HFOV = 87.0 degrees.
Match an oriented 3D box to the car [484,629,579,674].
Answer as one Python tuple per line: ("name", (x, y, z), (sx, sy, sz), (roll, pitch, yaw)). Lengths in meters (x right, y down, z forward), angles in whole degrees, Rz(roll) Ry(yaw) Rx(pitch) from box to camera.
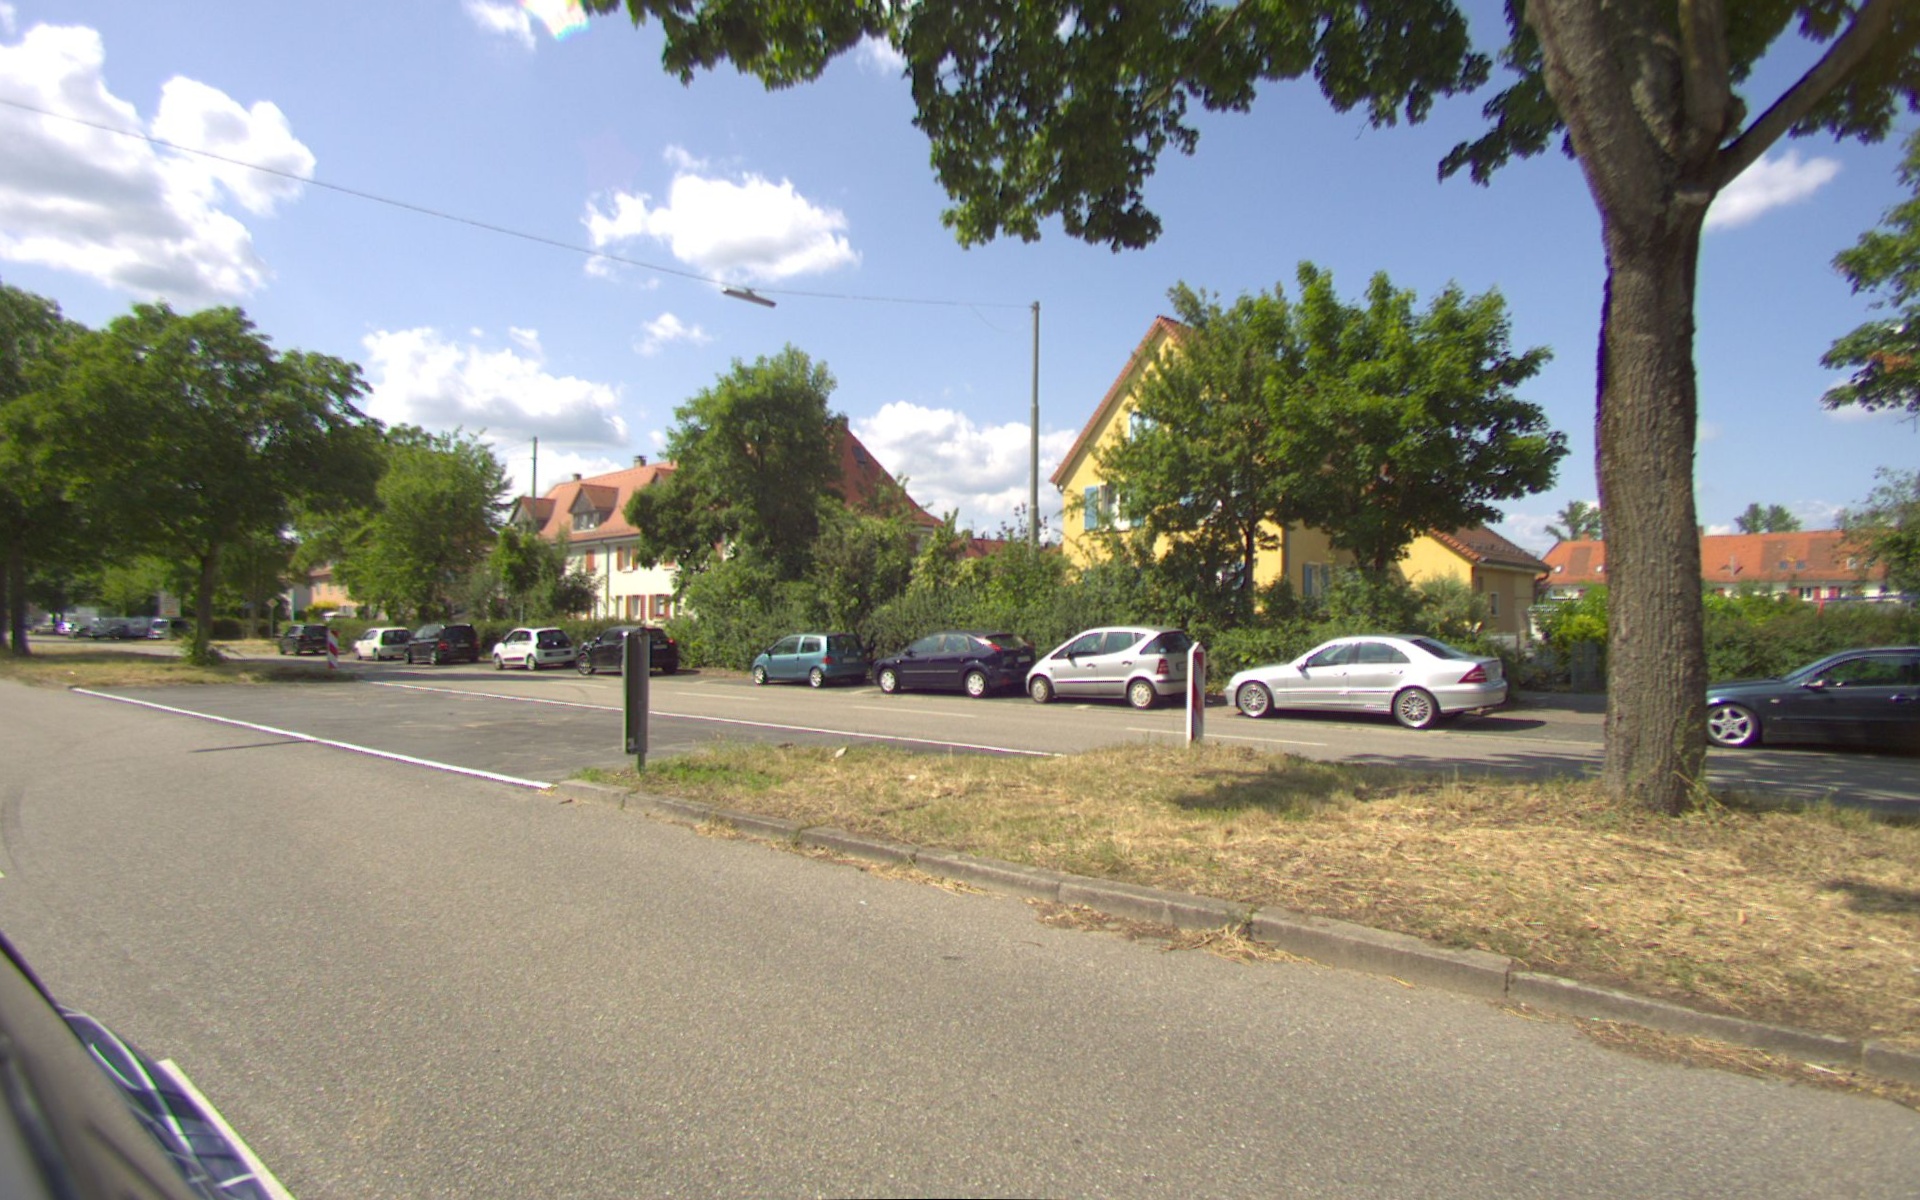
("car", (-15.825, 1.858, 37.331), (3.844, 1.462, 1.643), (-1, 0, 40))

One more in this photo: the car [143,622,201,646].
("car", (-64.915, 2.765, 83.398), (1.779, 1.874, 4.002), (-1, -1, -2))

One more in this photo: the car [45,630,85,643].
("car", (-105.363, 4.238, 119.167), (1.646, 1.358, 3.827), (-1, 0, -8))

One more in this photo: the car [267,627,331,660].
("car", (-34.711, 2.260, 53.107), (3.997, 1.563, 1.749), (-1, 0, 40))

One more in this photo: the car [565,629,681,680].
("car", (-10.947, 1.722, 32.717), (4.100, 1.492, 1.643), (-2, 0, 40))

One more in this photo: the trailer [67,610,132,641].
("trailer", (-91.033, 2.668, 107.167), (2.782, 3.132, 5.767), (-2, 0, -11))

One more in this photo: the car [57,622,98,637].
("car", (-99.403, 3.318, 114.053), (1.646, 1.475, 3.827), (-1, 0, -8))

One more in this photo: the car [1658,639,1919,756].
("car", (11.696, 1.183, 12.742), (4.583, 1.316, 1.618), (-2, 0, 43))

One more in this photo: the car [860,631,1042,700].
("car", (-0.294, 1.440, 23.362), (4.354, 1.405, 1.388), (-2, 0, 41))

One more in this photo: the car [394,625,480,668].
("car", (-21.809, 1.891, 42.168), (4.311, 1.624, 1.643), (-1, 0, 40))

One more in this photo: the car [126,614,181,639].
("car", (-71.723, 2.321, 90.039), (1.779, 2.029, 4.002), (-1, 0, -2))

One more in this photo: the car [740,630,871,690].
("car", (-4.152, 1.545, 26.947), (3.475, 1.405, 1.546), (-1, 0, 41))

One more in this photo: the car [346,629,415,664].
("car", (-26.504, 2.099, 46.252), (3.532, 1.472, 1.578), (-1, 0, 40))

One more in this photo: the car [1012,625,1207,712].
("car", (2.965, 1.317, 20.549), (3.740, 1.569, 1.388), (-1, 0, 41))

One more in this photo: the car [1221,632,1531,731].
("car", (6.781, 1.260, 16.866), (4.531, 1.380, 1.494), (-2, 0, 43))

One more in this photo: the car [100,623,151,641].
("car", (-77.019, 2.948, 93.502), (1.550, 1.408, 4.002), (-1, 0, -2))

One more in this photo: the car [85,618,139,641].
("car", (-79.282, 2.729, 94.711), (1.779, 2.029, 4.002), (-1, 0, -2))

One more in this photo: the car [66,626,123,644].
("car", (-83.392, 3.373, 97.575), (1.799, 1.521, 3.945), (-1, 1, 41))
